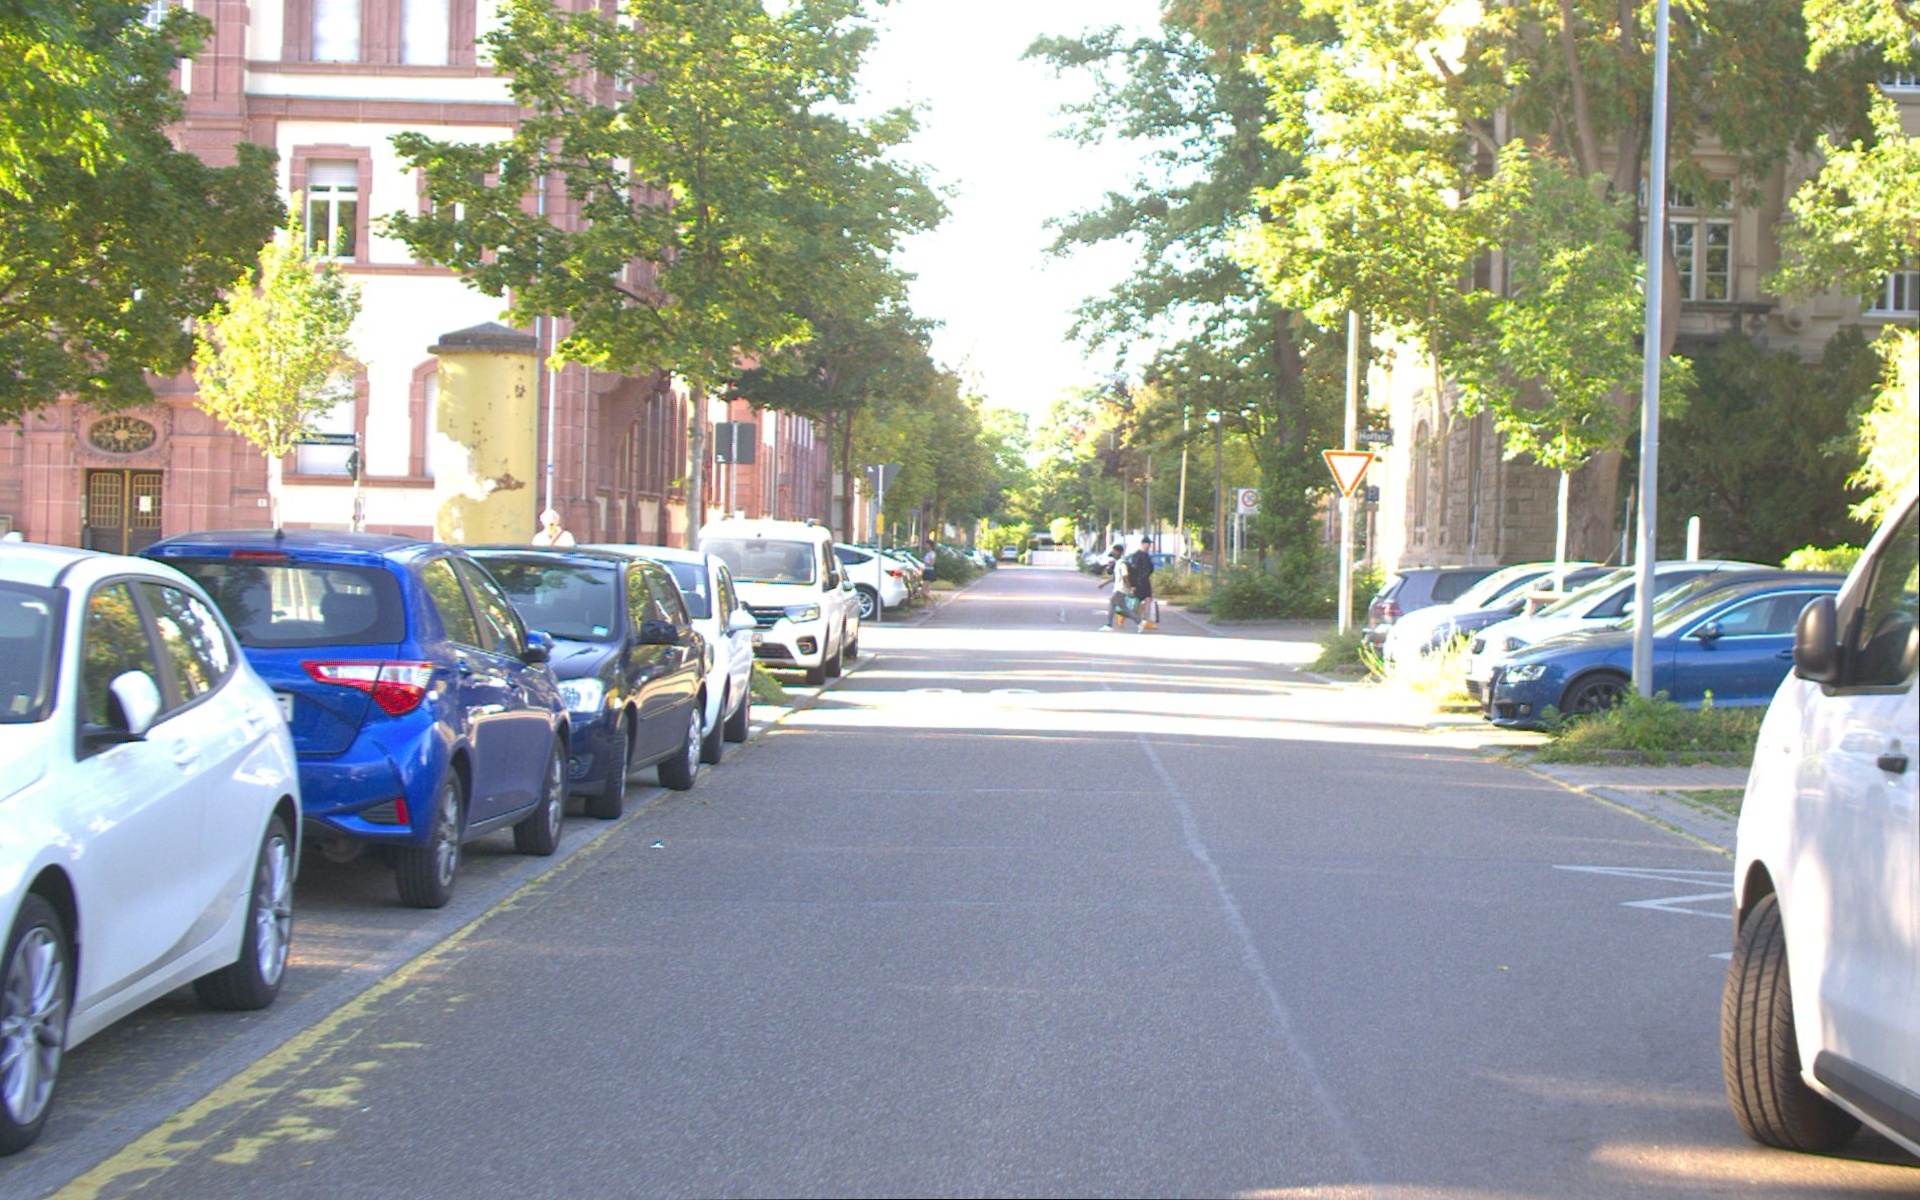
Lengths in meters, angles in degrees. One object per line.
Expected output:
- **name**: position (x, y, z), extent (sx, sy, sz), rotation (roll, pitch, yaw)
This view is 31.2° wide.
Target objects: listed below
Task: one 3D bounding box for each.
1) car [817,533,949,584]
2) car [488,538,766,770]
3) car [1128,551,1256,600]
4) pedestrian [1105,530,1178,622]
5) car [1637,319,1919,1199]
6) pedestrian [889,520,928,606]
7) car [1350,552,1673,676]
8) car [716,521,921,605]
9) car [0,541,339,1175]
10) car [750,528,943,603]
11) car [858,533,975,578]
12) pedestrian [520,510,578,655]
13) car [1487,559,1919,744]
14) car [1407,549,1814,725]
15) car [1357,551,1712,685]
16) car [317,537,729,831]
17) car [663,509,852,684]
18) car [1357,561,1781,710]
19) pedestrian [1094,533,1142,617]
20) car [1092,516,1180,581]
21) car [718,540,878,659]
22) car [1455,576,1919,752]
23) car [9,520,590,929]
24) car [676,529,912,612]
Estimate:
- **car**: position (-2.640, -1.447, 119.030), extent (4.482, 1.602, 1.842), rotation (2, 1, 0)
- **car**: position (-2.371, 0.334, 25.252), extent (1.592, 1.521, 3.865), rotation (2, 1, 1)
- **car**: position (8.400, -0.892, 124.729), extent (4.482, 1.602, 1.842), rotation (2, 1, 0)
- **pedestrian**: position (3.763, -0.502, 71.333), extent (1.060, 1.851, 1.002), rotation (1, 1, -30)
- **car**: position (2.959, 0.442, 7.340), extent (1.952, 2.007, 5.153), rotation (2, 1, 0)
- **pedestrian**: position (-1.182, -0.844, 78.875), extent (0.784, 1.955, 0.721), rotation (2, 0, -7)
- **car**: position (7.135, 0.195, 44.801), extent (3.954, 1.511, 1.873), rotation (1, -1, 3)
- **car**: position (-3.136, -0.835, 76.804), extent (4.482, 1.711, 1.842), rotation (2, 1, 0)
- **car**: position (-2.974, 0.558, 9.173), extent (1.690, 1.401, 3.974), rotation (4, 1, 2)
- **car**: position (-2.681, -0.821, 81.845), extent (4.482, 1.602, 1.842), rotation (2, 1, 0)
- **car**: position (-1.687, -1.722, 133.290), extent (4.482, 1.602, 1.842), rotation (2, 1, 0)
- **pedestrian**: position (-5.140, -0.229, 43.041), extent (0.599, 1.778, 0.946), rotation (2, 1, -2)
- **car**: position (6.805, 0.449, 31.234), extent (3.680, 1.518, 1.792), rotation (2, 1, -2)
- **car**: position (6.336, 0.348, 33.702), extent (3.492, 1.579, 1.762), rotation (2, 1, -8)
- **car**: position (7.079, 0.218, 42.512), extent (3.953, 1.511, 1.675), rotation (1, 1, -11)
- **car**: position (-2.427, 0.404, 19.982), extent (1.552, 1.489, 3.942), rotation (2, 1, 5)
- **car**: position (-2.256, -0.083, 39.287), extent (1.781, 1.834, 4.553), rotation (2, 1, 1)
- **car**: position (6.972, 0.392, 39.685), extent (4.491, 1.544, 1.891), rotation (2, 1, -1)
- **pedestrian**: position (3.038, -0.481, 66.212), extent (0.784, 1.601, 0.720), rotation (2, 0, -4)
- **car**: position (10.127, -2.961, 197.726), extent (4.886, 3.605, 1.842), rotation (2, 1, 1)
- **car**: position (-2.170, -0.040, 47.147), extent (1.781, 1.500, 4.553), rotation (2, 1, 2)
- **car**: position (6.535, 0.517, 28.711), extent (4.589, 1.410, 1.922), rotation (0, 0, 3)
- **car**: position (-2.771, 0.450, 15.220), extent (1.638, 1.490, 3.705), rotation (4, 1, 2)
- **car**: position (-3.453, -0.630, 72.323), extent (4.842, 1.588, 1.842), rotation (2, 1, 0)
